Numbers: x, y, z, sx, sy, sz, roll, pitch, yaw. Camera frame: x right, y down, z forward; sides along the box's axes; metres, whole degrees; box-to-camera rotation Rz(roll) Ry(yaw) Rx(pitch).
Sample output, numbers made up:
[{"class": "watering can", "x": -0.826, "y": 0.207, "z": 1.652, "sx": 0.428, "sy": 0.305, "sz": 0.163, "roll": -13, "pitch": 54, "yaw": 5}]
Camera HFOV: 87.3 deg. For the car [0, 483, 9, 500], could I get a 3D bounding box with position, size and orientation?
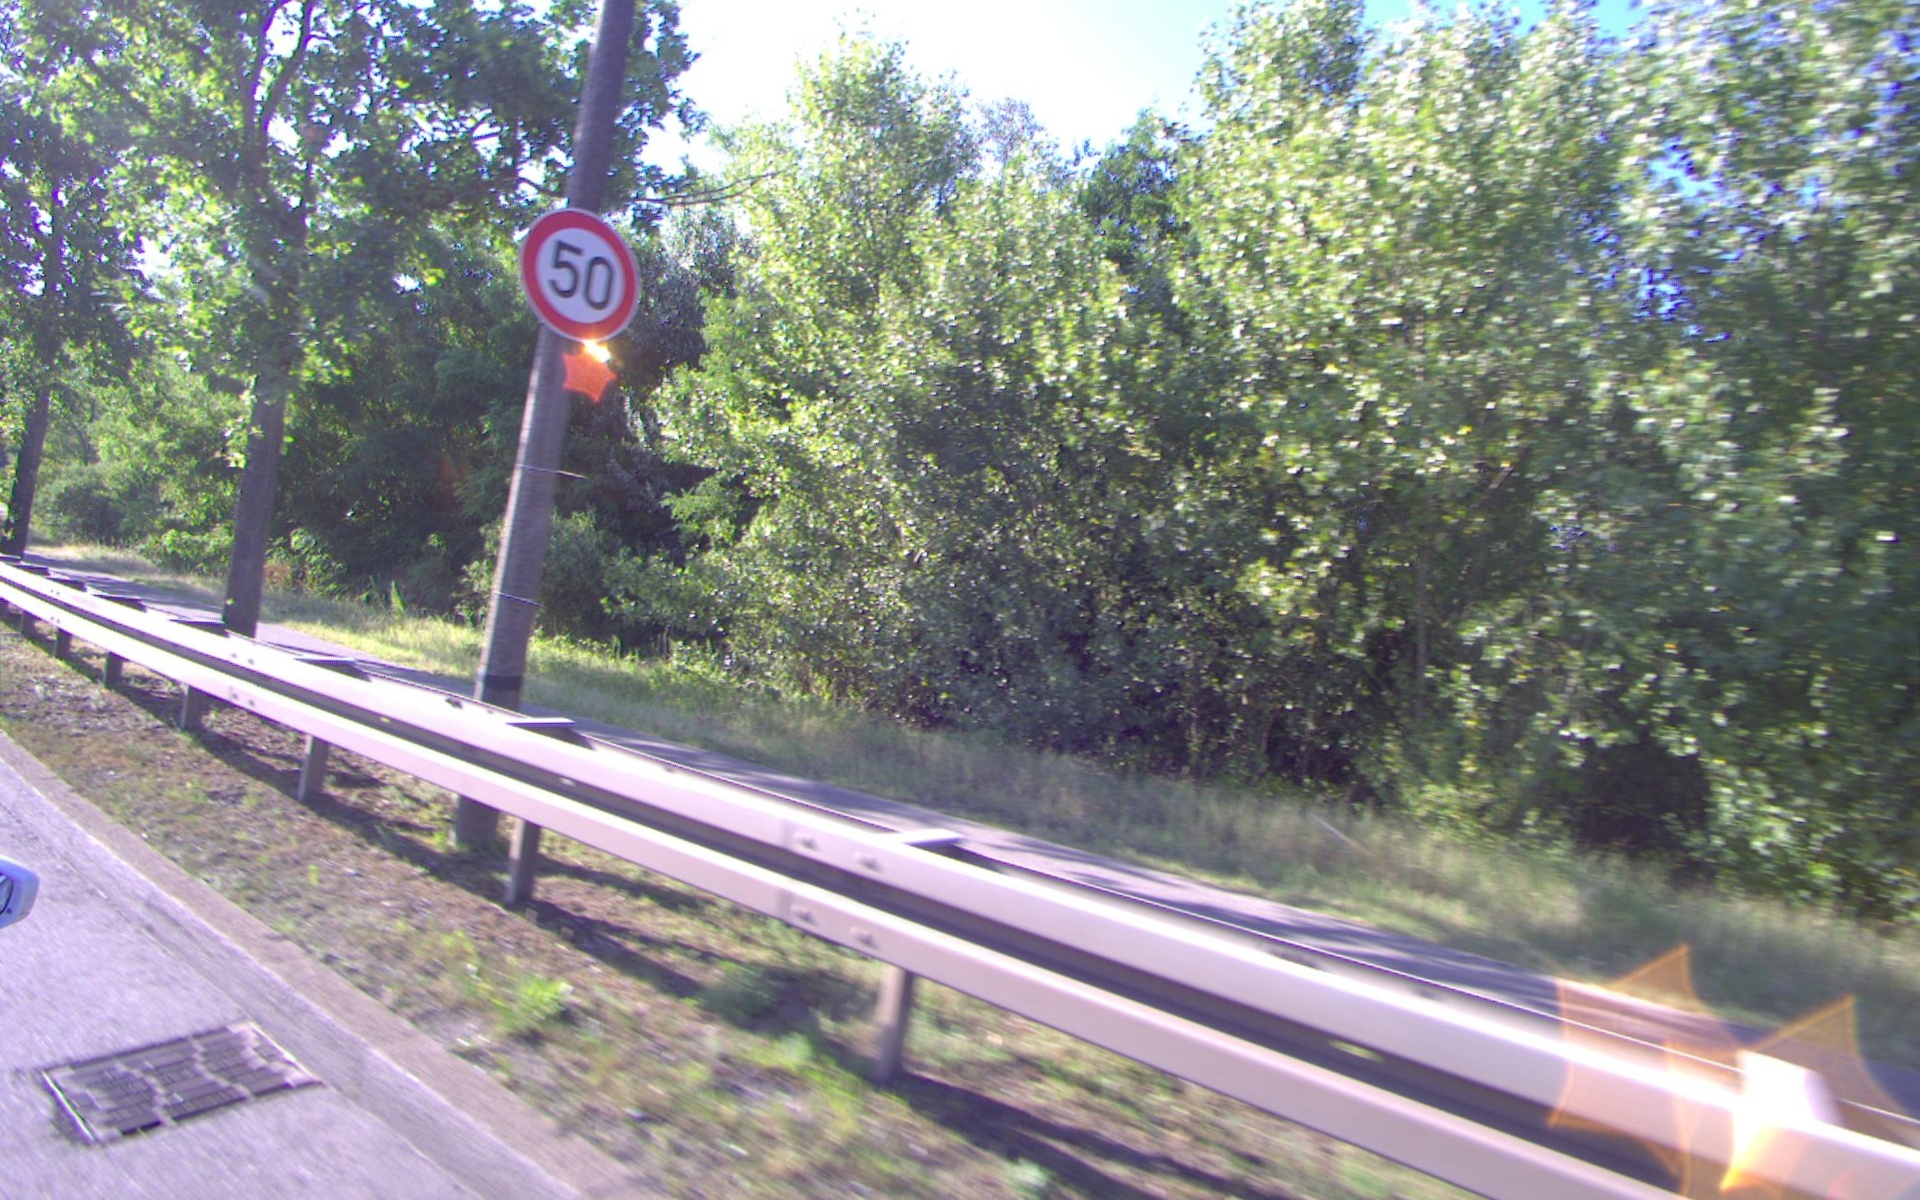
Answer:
[{"class": "car", "x": -92.561, "y": -10.545, "z": 95.764, "sx": 1.758, "sy": 1.513, "sz": 3.806, "roll": 9, "pitch": -1, "yaw": -27}]
